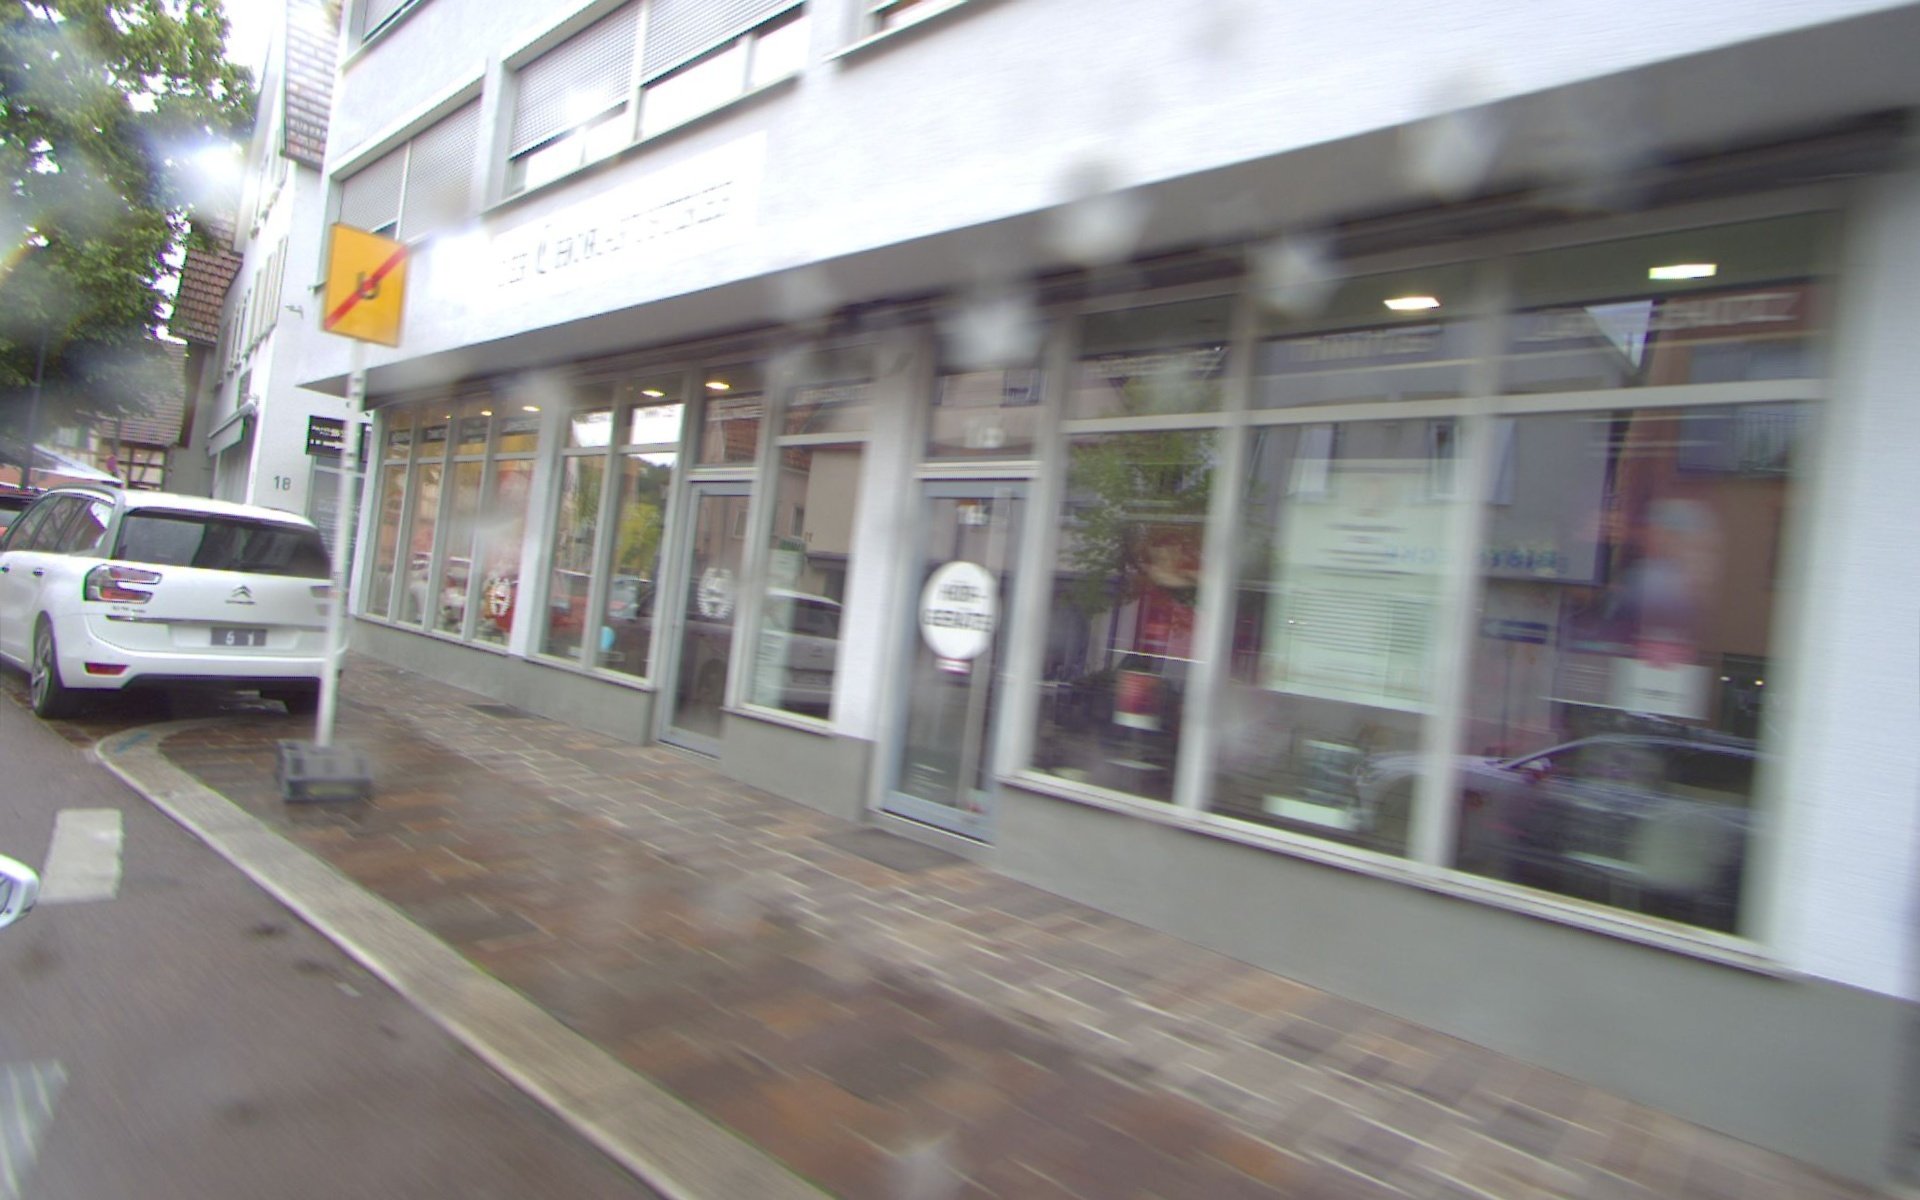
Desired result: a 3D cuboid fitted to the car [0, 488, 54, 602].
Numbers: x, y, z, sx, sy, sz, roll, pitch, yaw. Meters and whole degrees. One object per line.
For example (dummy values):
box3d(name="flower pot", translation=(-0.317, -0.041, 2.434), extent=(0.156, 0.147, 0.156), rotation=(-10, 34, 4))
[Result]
box3d(name="car", translation=(-15.476, -0.992, 15.339), extent=(3.892, 1.574, 1.787), rotation=(6, -1, 39))

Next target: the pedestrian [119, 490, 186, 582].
box3d(name="pedestrian", translation=(-16.691, -1.301, 20.797), extent=(0.881, 1.732, 0.880), rotation=(8, -3, -40))

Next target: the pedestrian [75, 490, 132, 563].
box3d(name="pedestrian", translation=(-21.906, -1.858, 25.746), extent=(0.905, 1.719, 0.853), rotation=(6, -1, -36))

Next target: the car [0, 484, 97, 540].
box3d(name="car", translation=(-35.681, -3.458, 37.893), extent=(1.963, 1.652, 4.619), rotation=(9, -1, 5))

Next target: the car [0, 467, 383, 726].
box3d(name="car", translation=(-6.836, -0.127, 8.378), extent=(4.371, 1.618, 1.788), rotation=(6, 0, 36))

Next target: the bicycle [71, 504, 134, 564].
box3d(name="bicycle", translation=(-21.833, -1.665, 25.654), extent=(0.919, 1.367, 2.195), rotation=(6, 0, -36))

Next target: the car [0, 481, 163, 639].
box3d(name="car", translation=(-11.044, -0.509, 11.694), extent=(3.891, 1.485, 1.788), rotation=(4, -4, 38))
